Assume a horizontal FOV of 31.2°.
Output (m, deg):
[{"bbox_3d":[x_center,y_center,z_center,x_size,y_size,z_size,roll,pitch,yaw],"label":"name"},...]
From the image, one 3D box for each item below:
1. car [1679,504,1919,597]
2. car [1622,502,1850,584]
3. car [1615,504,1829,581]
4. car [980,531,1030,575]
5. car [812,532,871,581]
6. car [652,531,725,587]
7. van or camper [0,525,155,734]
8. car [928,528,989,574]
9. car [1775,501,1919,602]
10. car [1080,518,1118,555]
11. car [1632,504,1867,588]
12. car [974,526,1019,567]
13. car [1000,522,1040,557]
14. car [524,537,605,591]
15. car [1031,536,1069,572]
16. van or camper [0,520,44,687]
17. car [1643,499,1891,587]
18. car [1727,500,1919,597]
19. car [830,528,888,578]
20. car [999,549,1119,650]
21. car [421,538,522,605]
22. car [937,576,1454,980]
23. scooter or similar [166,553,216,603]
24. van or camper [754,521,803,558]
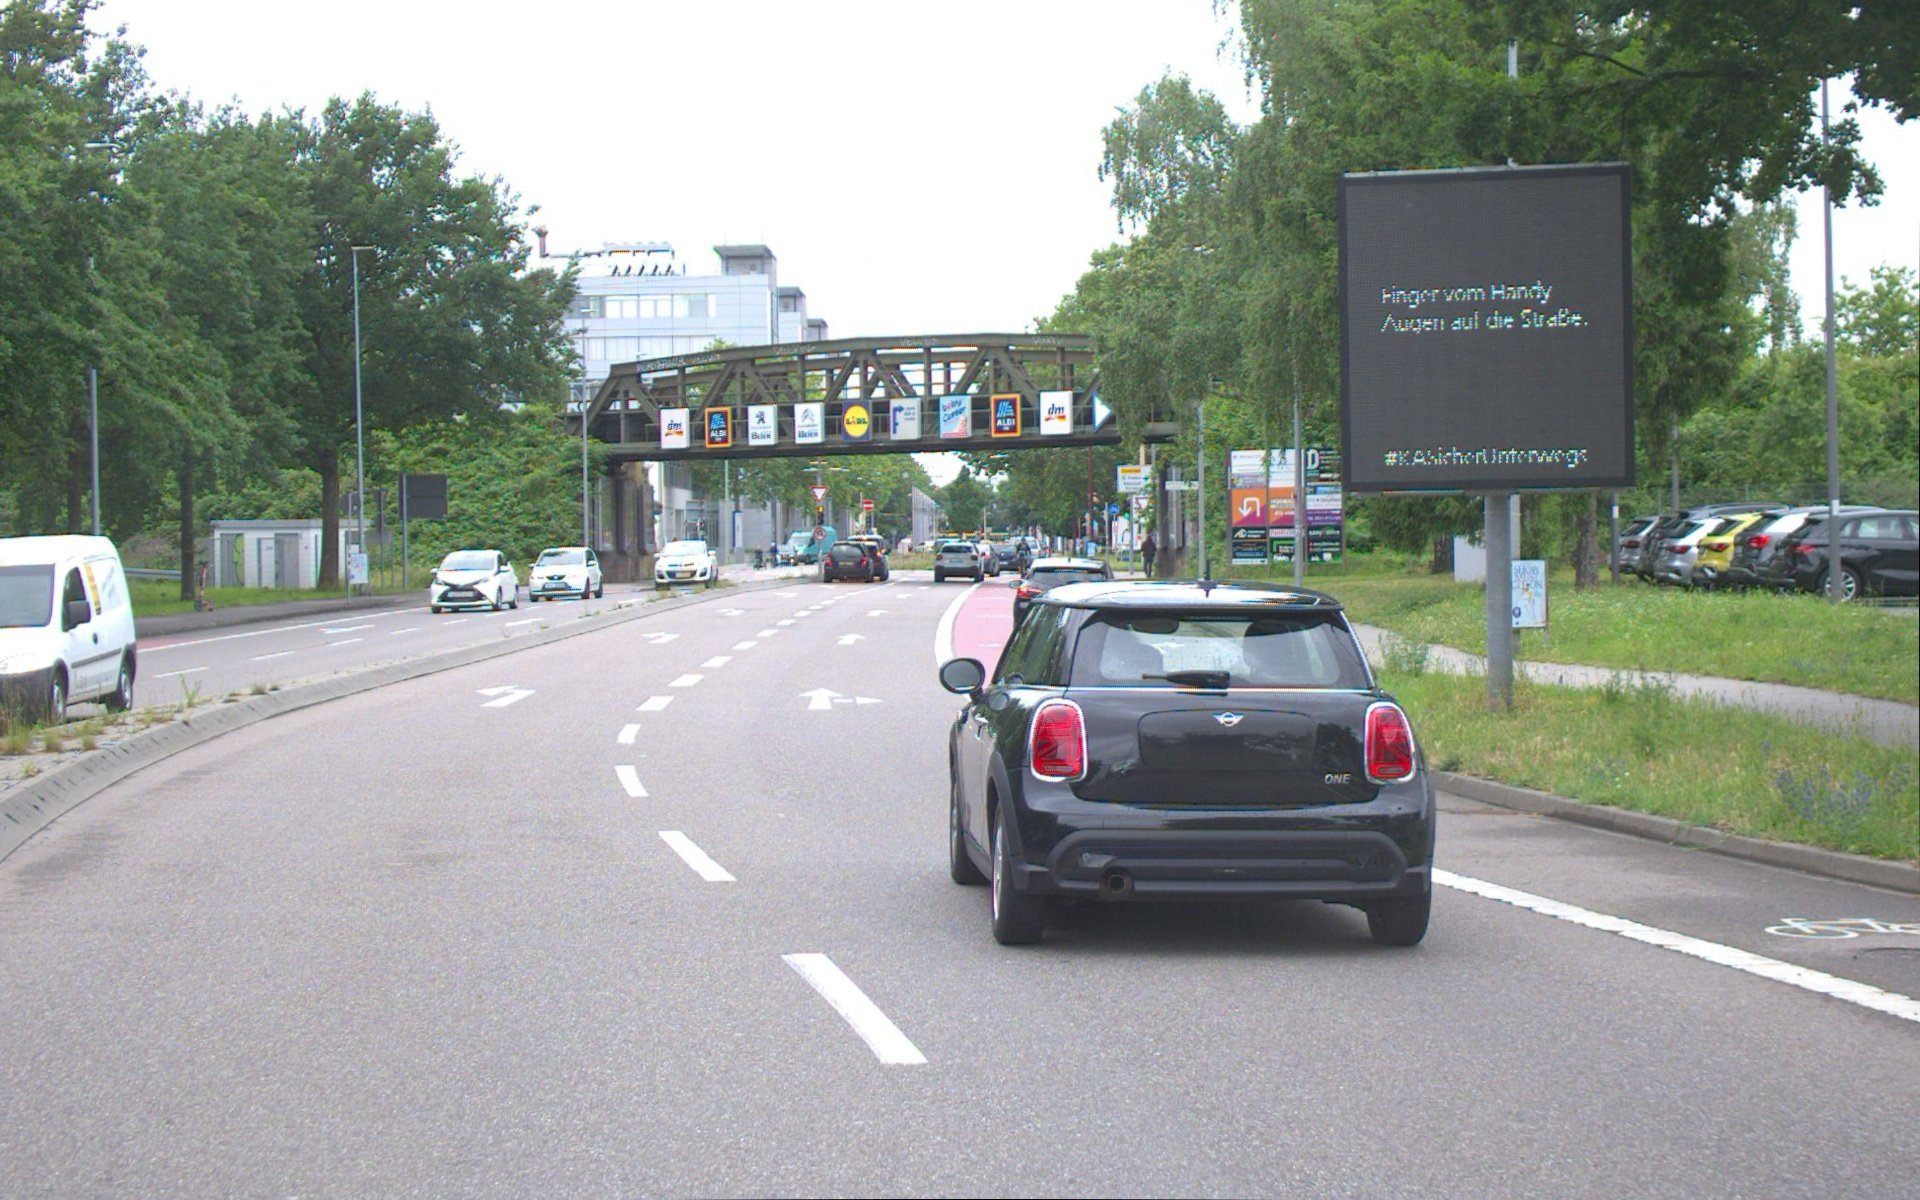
[{"bbox_3d":[14.029,-0.836,56.948,3.988,1.430,1.730,1,3,7],"label":"car"},{"bbox_3d":[14.484,-1.077,64.333,3.988,1.430,1.730,1,3,7],"label":"car"},{"bbox_3d":[15.137,-1.157,68.438,3.988,1.430,1.730,1,3,7],"label":"car"},{"bbox_3d":[1.857,-1.934,140.435,1.884,1.656,3.782,0,3,3],"label":"car"},{"bbox_3d":[-4.438,-1.649,129.010,1.884,1.656,3.782,0,3,3],"label":"car"},{"bbox_3d":[-9.022,-1.380,114.458,1.940,1.670,3.782,0,3,3],"label":"car"},{"bbox_3d":[-8.826,0.252,31.640,1.755,1.741,4.407,-4,2,-1],"label":"van or camper"},{"bbox_3d":[-0.037,-1.911,133.053,2.135,1.656,3.782,0,3,3],"label":"car"},{"bbox_3d":[14.328,-0.722,51.425,3.988,1.430,1.730,1,3,7],"label":"car"},{"bbox_3d":[7.312,-3.369,180.948,1.950,1.809,4.000,0,3,3],"label":"car"},{"bbox_3d":[14.308,-0.992,62.470,3.988,1.430,1.730,1,3,7],"label":"car"},{"bbox_3d":[1.764,-2.567,164.211,1.950,1.809,4.000,0,3,3],"label":"car"},{"bbox_3d":[3.085,-3.087,175.746,1.884,1.656,3.782,0,3,3],"label":"car"},{"bbox_3d":[-11.083,-1.031,96.541,1.719,1.366,3.440,0,3,3],"label":"car"},{"bbox_3d":[4.963,-2.535,189.020,1.950,1.809,4.000,0,3,3],"label":"car"},{"bbox_3d":[-12.428,0.092,40.487,1.875,1.979,4.890,-2,2,0],"label":"van or camper"},{"bbox_3d":[13.880,-0.997,59.304,3.988,1.430,1.730,1,3,7],"label":"car"},{"bbox_3d":[14.164,-0.814,53.929,3.988,1.430,1.730,1,3,7],"label":"car"},{"bbox_3d":[-3.962,-1.856,135.684,1.950,1.809,4.000,0,3,3],"label":"car"},{"bbox_3d":[1.616,-0.036,54.822,1.757,1.429,4.000,-1,2,4],"label":"car"},{"bbox_3d":[-11.590,-0.690,81.723,1.754,1.441,3.339,0,3,3],"label":"car"},{"bbox_3d":[0.856,0.643,14.468,1.786,1.411,3.643,2,1,-1],"label":"car"},{"bbox_3d":[-18.340,-0.537,82.012,0.762,1.086,2.007,0,3,0],"label":"scooter or similar"},{"bbox_3d":[-12.744,-4.290,241.939,1.994,2.477,7.025,-1,1,9],"label":"van or camper"}]
